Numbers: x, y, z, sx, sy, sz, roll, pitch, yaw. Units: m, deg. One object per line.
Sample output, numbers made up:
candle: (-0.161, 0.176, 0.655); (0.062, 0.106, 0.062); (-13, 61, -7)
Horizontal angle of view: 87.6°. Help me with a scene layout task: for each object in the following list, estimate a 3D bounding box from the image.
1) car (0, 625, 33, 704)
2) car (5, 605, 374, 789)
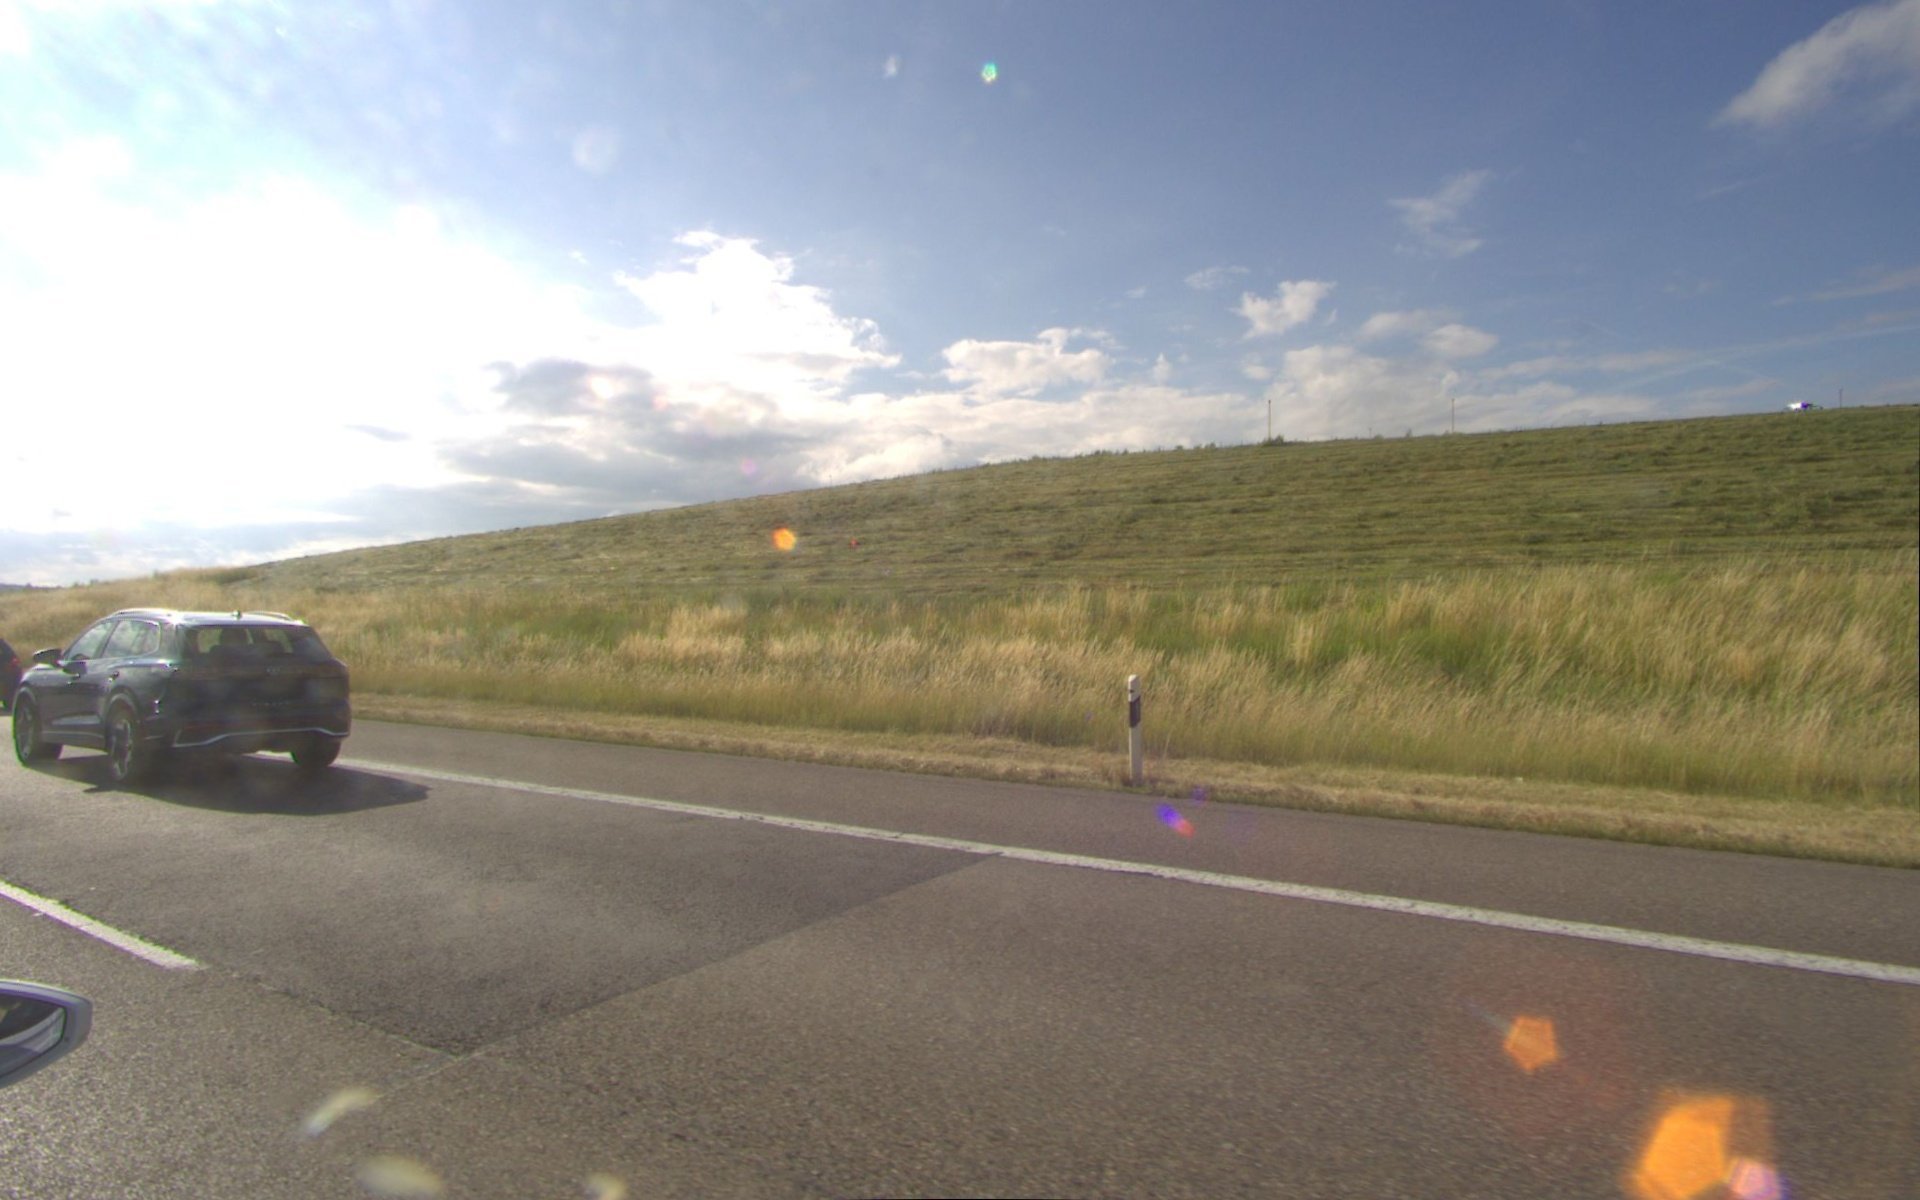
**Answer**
car: (-19.253, 1.210, 19.020); (3.621, 1.438, 1.602); (-1, -1, 33)
car: (-8.351, 0.937, 10.775); (4.175, 1.621, 1.818); (-1, -3, 32)
